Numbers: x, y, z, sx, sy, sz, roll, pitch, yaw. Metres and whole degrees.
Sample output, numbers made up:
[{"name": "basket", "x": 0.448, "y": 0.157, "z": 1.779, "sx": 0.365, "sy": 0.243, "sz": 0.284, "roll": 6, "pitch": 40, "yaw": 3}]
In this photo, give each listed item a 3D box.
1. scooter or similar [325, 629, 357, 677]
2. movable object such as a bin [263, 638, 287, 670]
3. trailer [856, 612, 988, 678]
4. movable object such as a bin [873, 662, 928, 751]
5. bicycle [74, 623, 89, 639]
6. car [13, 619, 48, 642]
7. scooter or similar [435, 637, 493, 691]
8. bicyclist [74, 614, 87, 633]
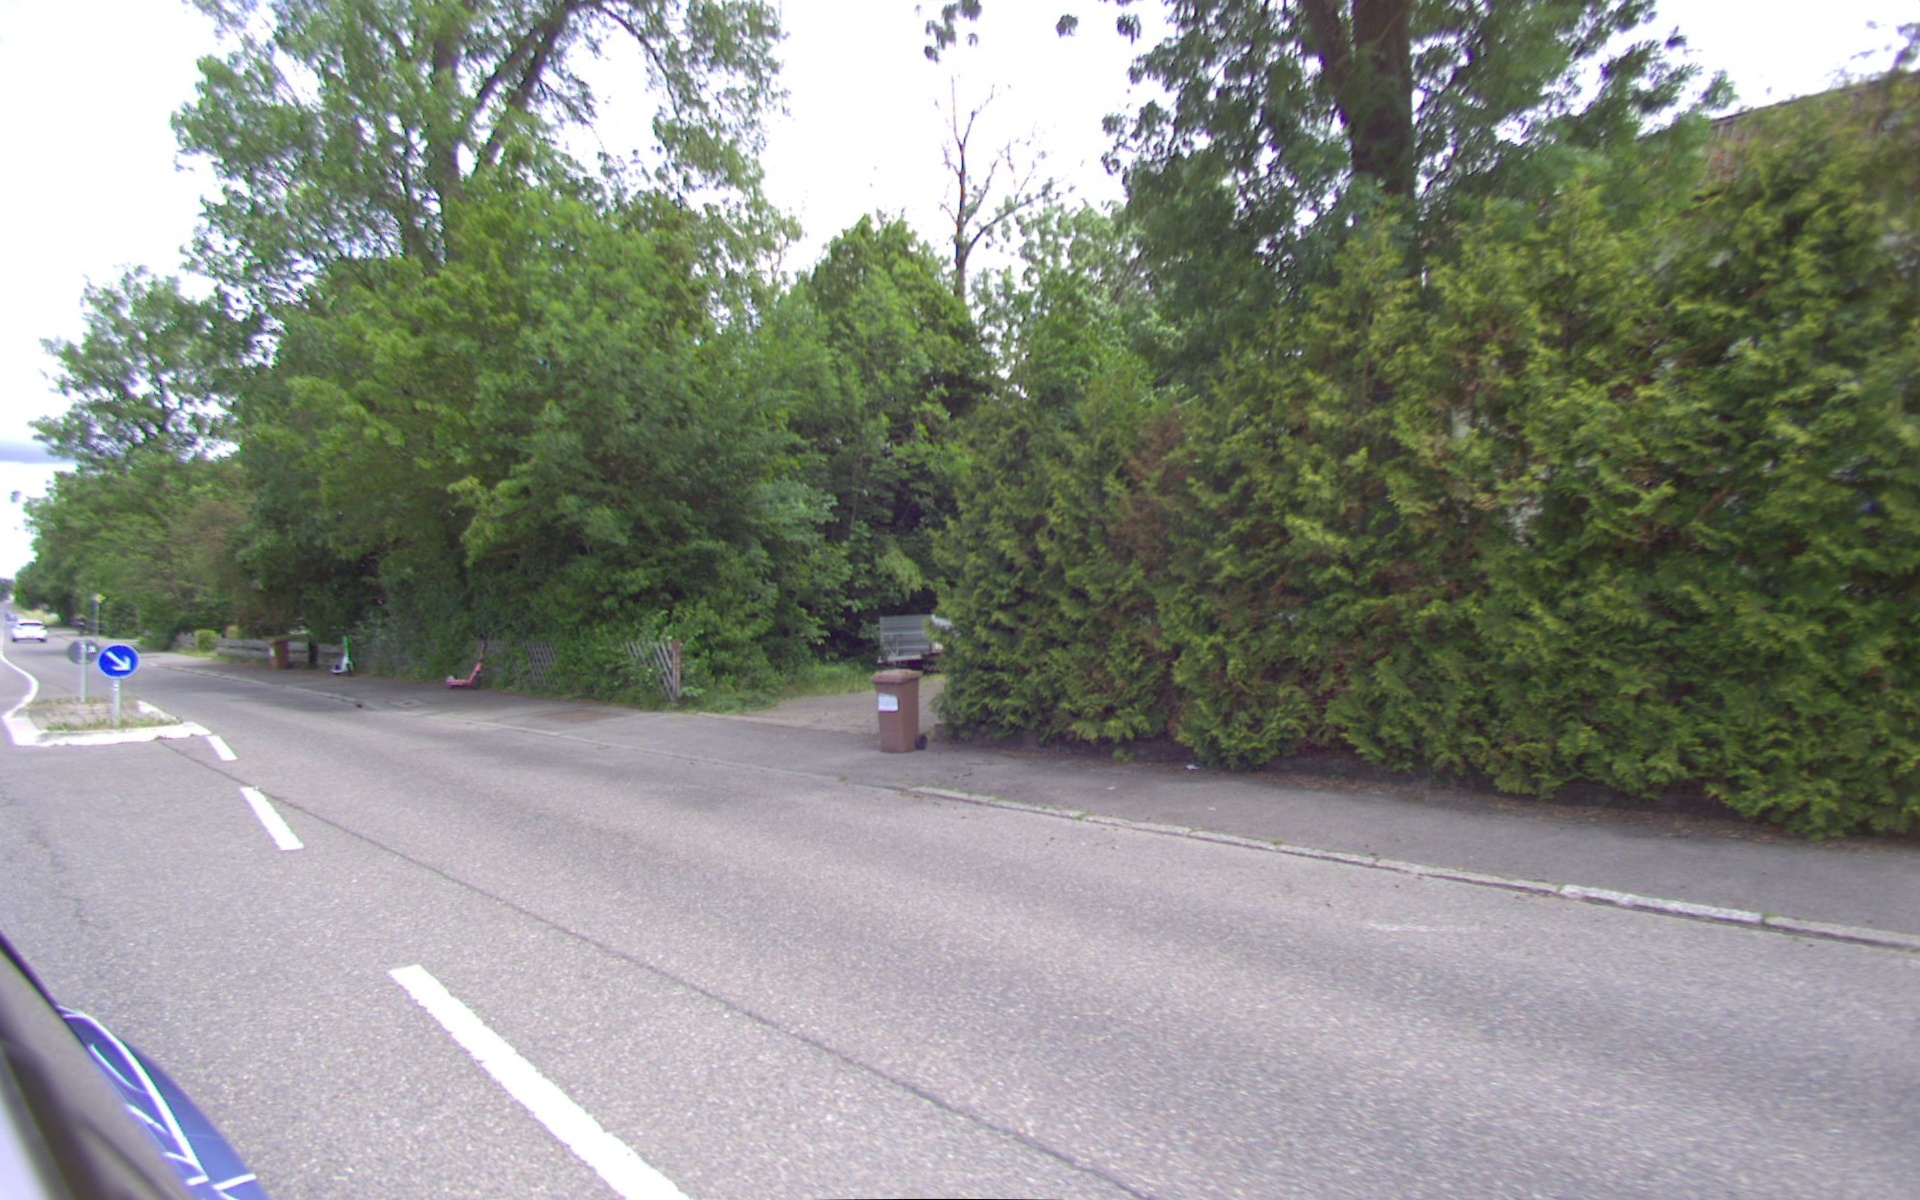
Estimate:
[{"name": "scooter or similar", "x": -16.532, "y": 1.399, "z": 27.007, "sx": 0.403, "sy": 1.208, "sz": 1.641, "roll": 1, "pitch": -1, "yaw": -43}, {"name": "movable object such as a bin", "x": -20.708, "y": 1.625, "z": 30.597, "sx": 0.507, "sy": 0.952, "sz": 0.569, "roll": -1, "pitch": 0, "yaw": -44}, {"name": "trailer", "x": -0.843, "y": 1.023, "z": 24.419, "sx": 1.726, "sy": 1.453, "sz": 3.486, "roll": -1, "pitch": -1, "yaw": 26}, {"name": "movable object such as a bin", "x": -0.682, "y": 1.211, "z": 11.633, "sx": 0.428, "sy": 0.937, "sz": 0.459, "roll": -1, "pitch": 2, "yaw": 29}, {"name": "bicycle", "x": -70.558, "y": 2.491, "z": 81.252, "sx": 0.746, "sy": 1.236, "sz": 2.310, "roll": 3, "pitch": -3, "yaw": -44}, {"name": "car", "x": -62.539, "y": 2.034, "z": 68.078, "sx": 1.673, "sy": 1.441, "sz": 3.790, "roll": 3, "pitch": -3, "yaw": -43}, {"name": "scooter or similar", "x": -10.485, "y": 1.333, "z": 21.387, "sx": 1.208, "sy": 1.089, "sz": 0.474, "roll": -1, "pitch": 0, "yaw": 28}, {"name": "bicyclist", "x": -70.822, "y": 1.907, "z": 81.479, "sx": 0.769, "sy": 1.561, "sz": 0.870, "roll": 1, "pitch": -2, "yaw": -44}]
